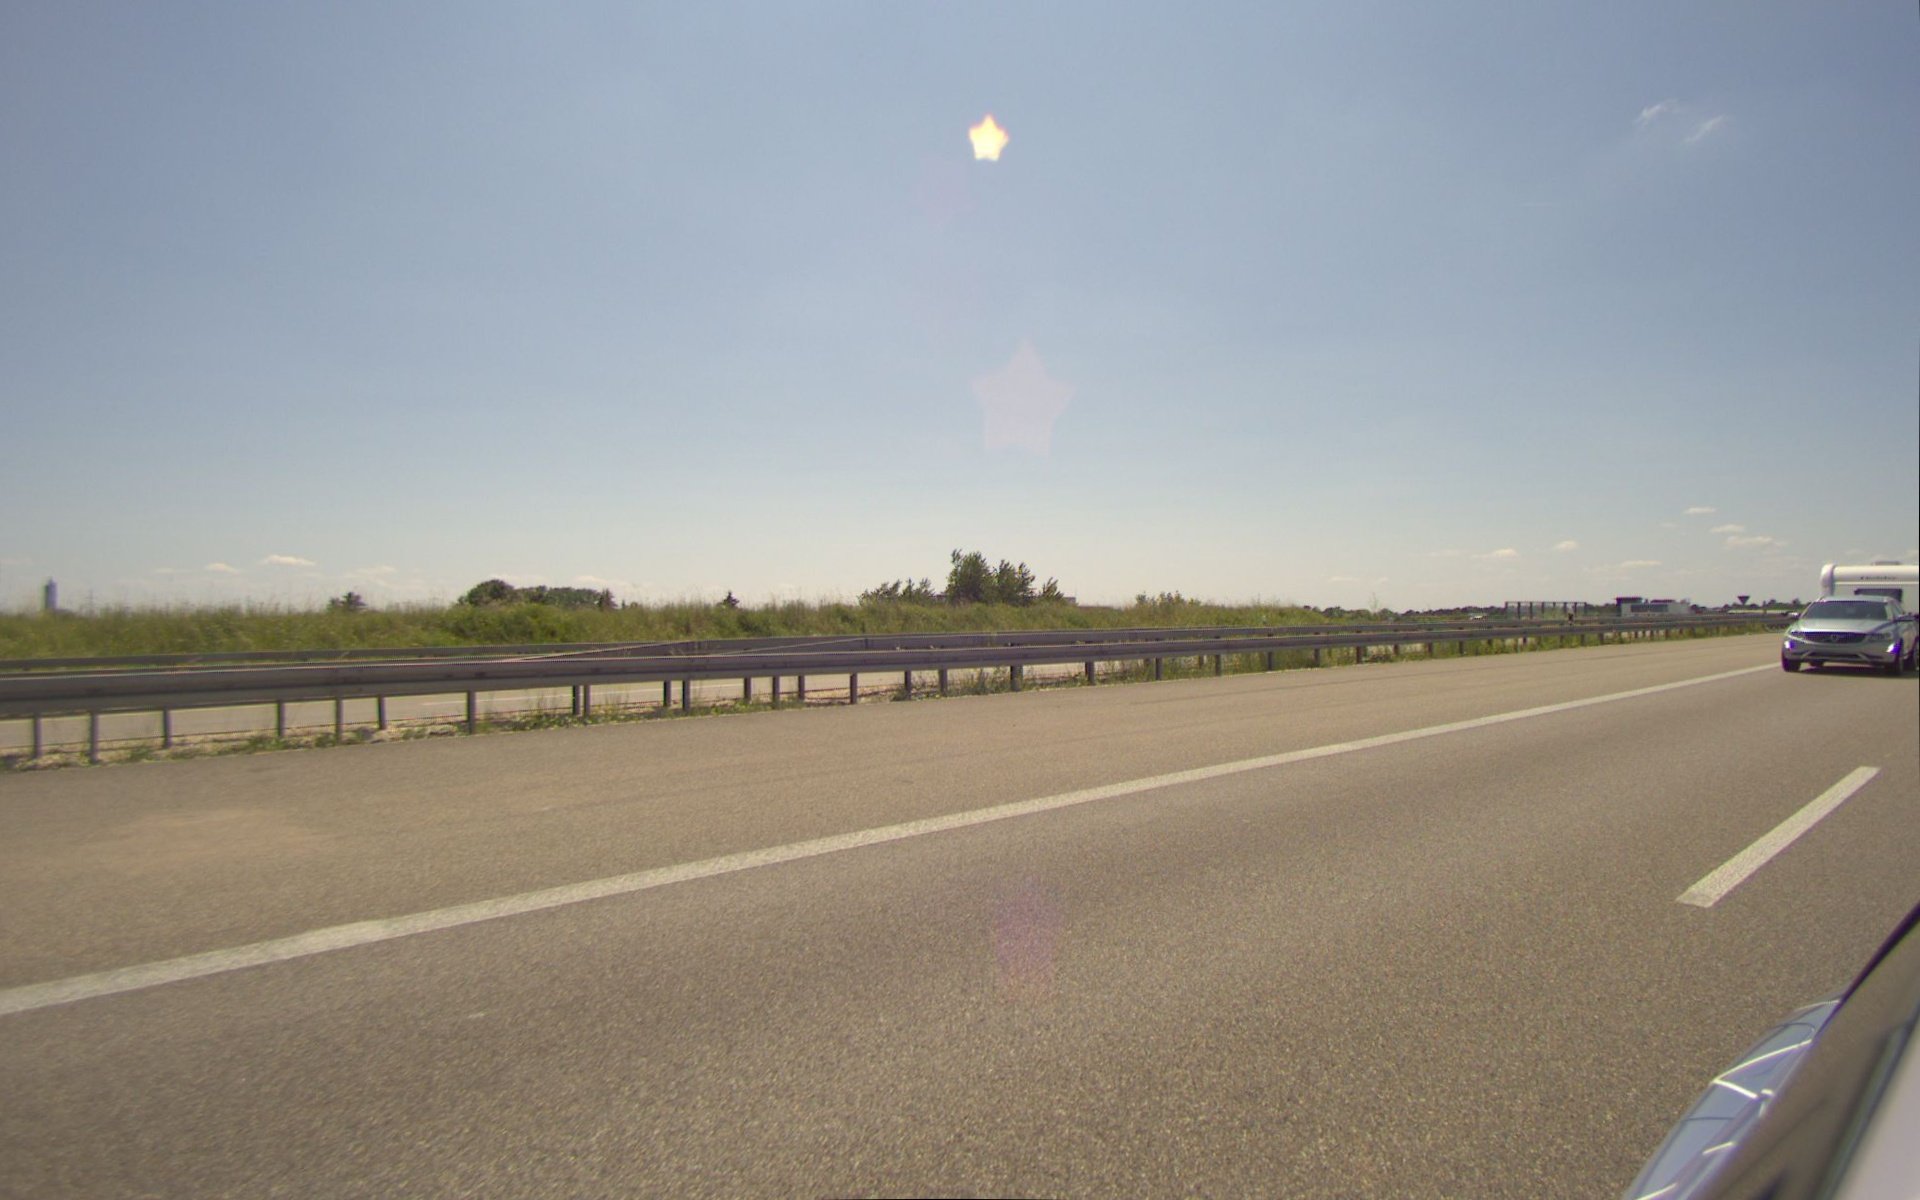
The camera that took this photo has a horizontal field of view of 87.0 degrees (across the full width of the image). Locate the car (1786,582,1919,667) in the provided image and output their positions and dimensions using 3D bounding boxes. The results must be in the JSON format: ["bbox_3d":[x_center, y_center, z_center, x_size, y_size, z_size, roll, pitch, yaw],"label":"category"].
[{"bbox_3d":[19.683,0.492,21.975,4.817,1.643,1.884,1,-1,-40],"label":"car"}]

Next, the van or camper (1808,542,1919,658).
[{"bbox_3d":[24.259,0.054,26.032,7.678,2.626,2.517,1,-1,-40],"label":"van or camper"}]
